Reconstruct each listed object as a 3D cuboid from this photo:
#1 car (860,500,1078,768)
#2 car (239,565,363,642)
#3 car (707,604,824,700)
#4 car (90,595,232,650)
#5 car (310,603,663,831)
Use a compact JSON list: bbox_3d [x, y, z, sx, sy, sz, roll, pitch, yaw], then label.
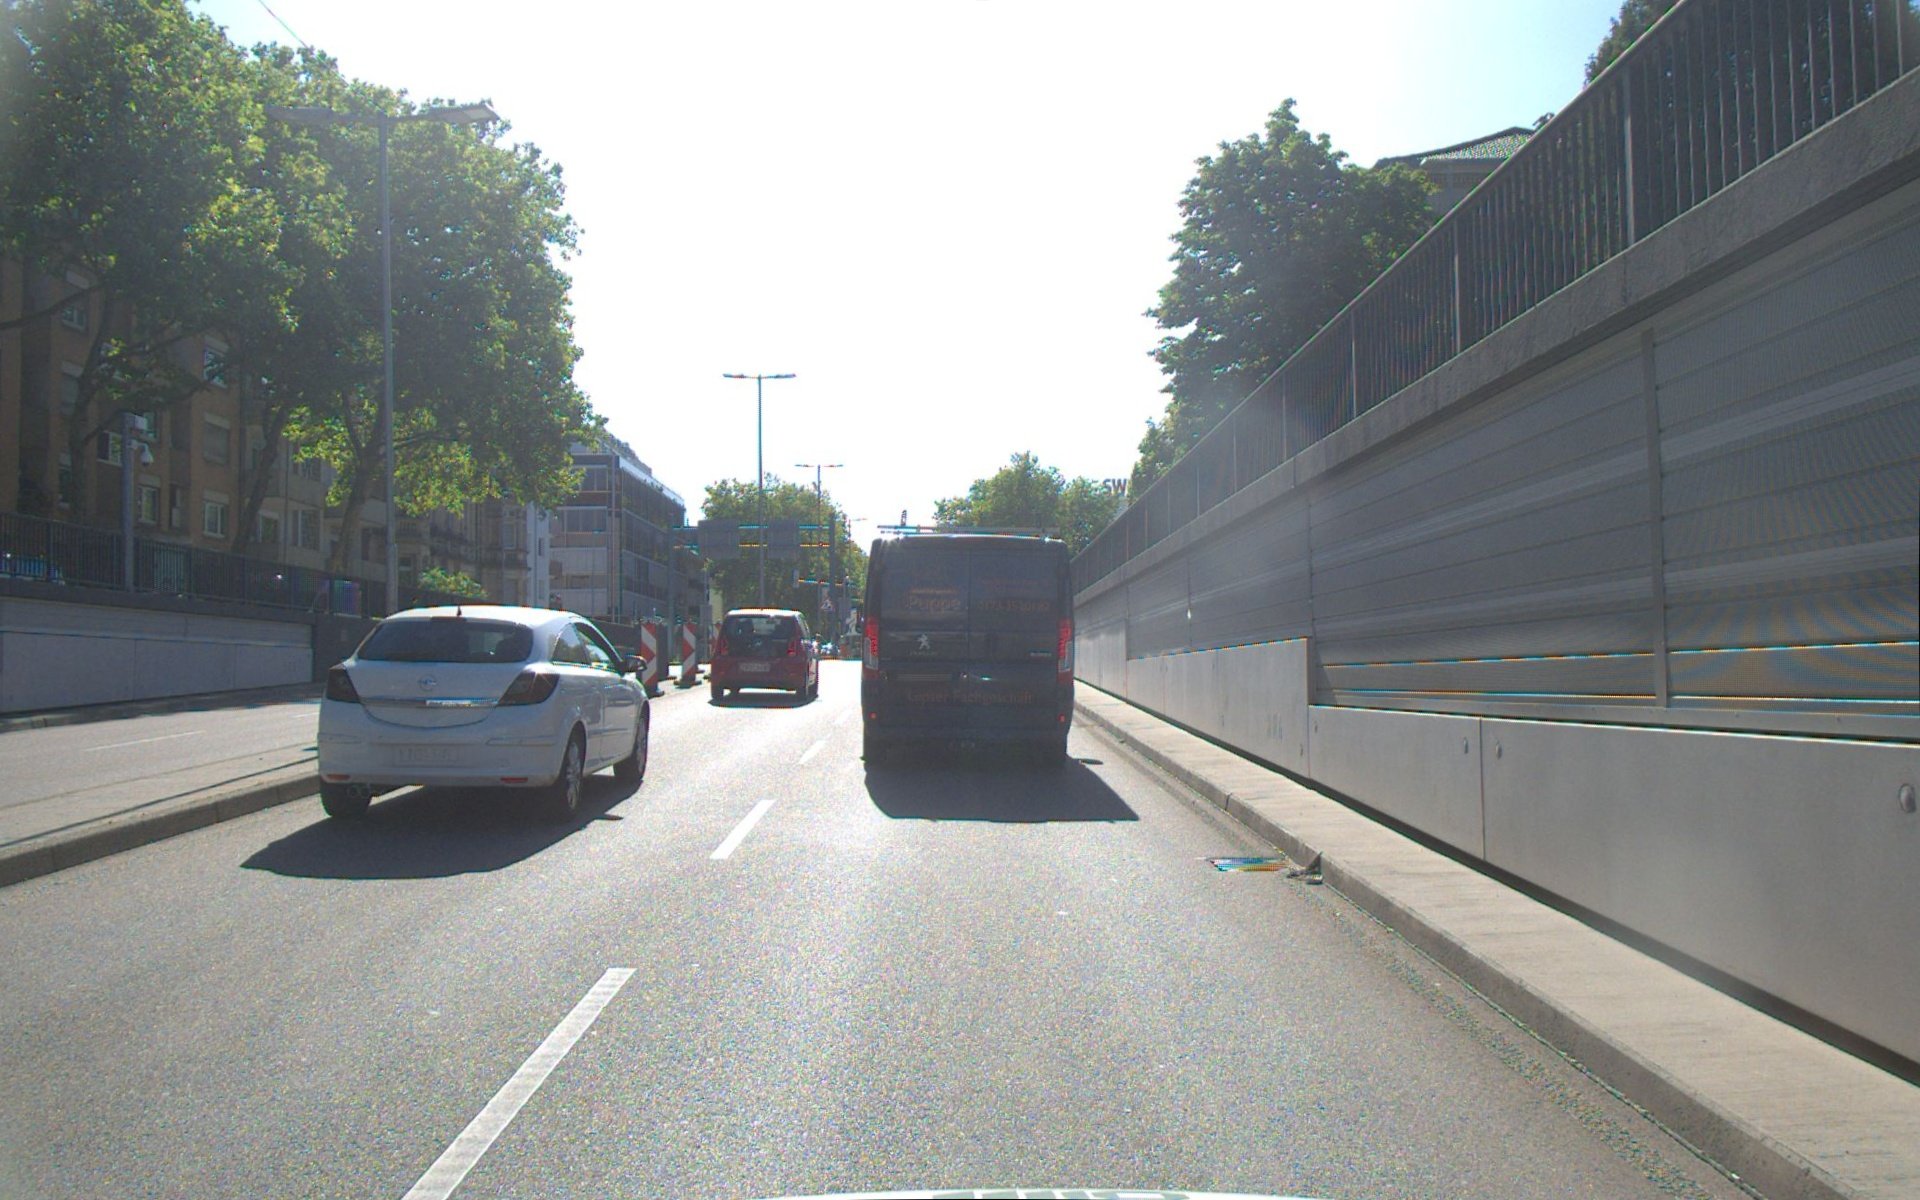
[{"bbox_3d":[0.061,0.349,17.089,1.989,2.445,3.971,0,-1,-1],"label":"car"},{"bbox_3d":[-22.290,0.195,56.187,1.953,2.401,5.418,1,-2,0],"label":"car"},{"bbox_3d":[-3.256,0.861,28.163,1.655,1.509,3.317,1,-1,-1],"label":"car"},{"bbox_3d":[-22.197,0.660,46.133,1.953,1.413,4.170,1,-2,-1],"label":"car"},{"bbox_3d":[-3.349,0.775,12.436,1.586,1.428,3.850,1,-1,-1],"label":"car"}]
